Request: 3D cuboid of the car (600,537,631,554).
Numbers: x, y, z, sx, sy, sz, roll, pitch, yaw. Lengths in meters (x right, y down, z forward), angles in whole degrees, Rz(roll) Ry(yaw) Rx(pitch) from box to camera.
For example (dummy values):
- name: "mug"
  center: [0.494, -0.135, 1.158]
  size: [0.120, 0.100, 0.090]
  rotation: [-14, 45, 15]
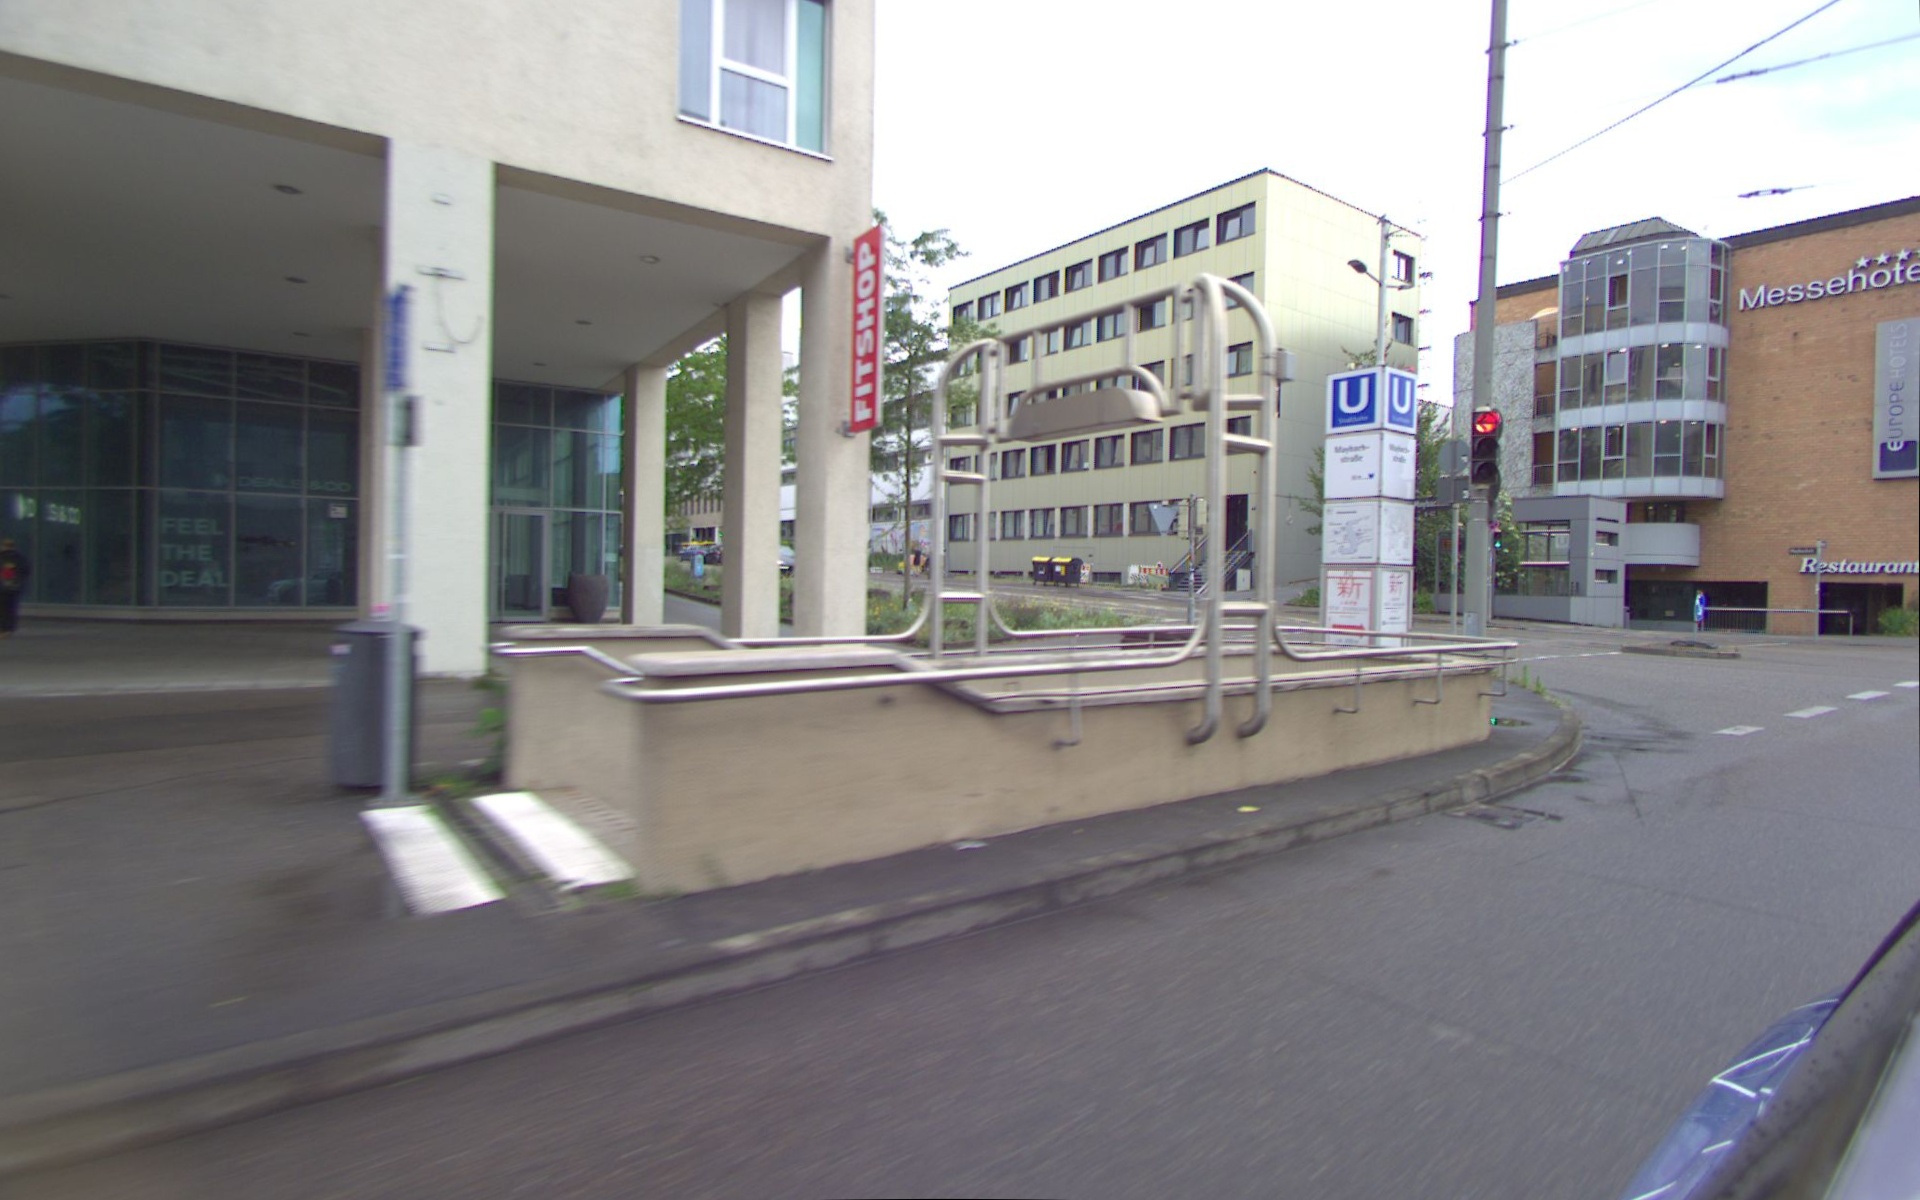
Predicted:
- name: "car"
  center: [-32.690, -5.186, 95.937]
  size: [1.632, 1.408, 3.739]
  rotation: [2, 3, -38]

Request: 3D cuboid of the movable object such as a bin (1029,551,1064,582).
- name: "movable object such as a bin"
  center: [4.320, -1.671, 50.674]
  size: [1.037, 1.462, 1.431]
  rotation: [-3, 5, -34]

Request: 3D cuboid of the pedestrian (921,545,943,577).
- name: "pedestrian"
  center: [-1.532, -2.171, 55.596]
  size: [0.755, 1.696, 0.969]
  rotation: [-2, 5, -35]

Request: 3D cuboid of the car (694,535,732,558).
- name: "car"
  center: [-18.770, -4.049, 76.893]
  size: [1.492, 1.528, 2.979]
  rotation: [3, 2, -41]

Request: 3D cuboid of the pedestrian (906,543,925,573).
- name: "pedestrian"
  center: [-2.600, -2.466, 59.104]
  size: [0.743, 1.752, 0.942]
  rotation: [-2, 5, -36]

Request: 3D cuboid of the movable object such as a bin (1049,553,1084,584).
- name: "movable object such as a bin"
  center: [5.202, -1.550, 49.382]
  size: [1.037, 1.462, 1.359]
  rotation: [-3, 5, -34]

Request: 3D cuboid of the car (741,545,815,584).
- name: "car"
  center: [-8.515, -1.708, 47.056]
  size: [1.962, 1.592, 4.004]
  rotation: [-2, 5, -34]
